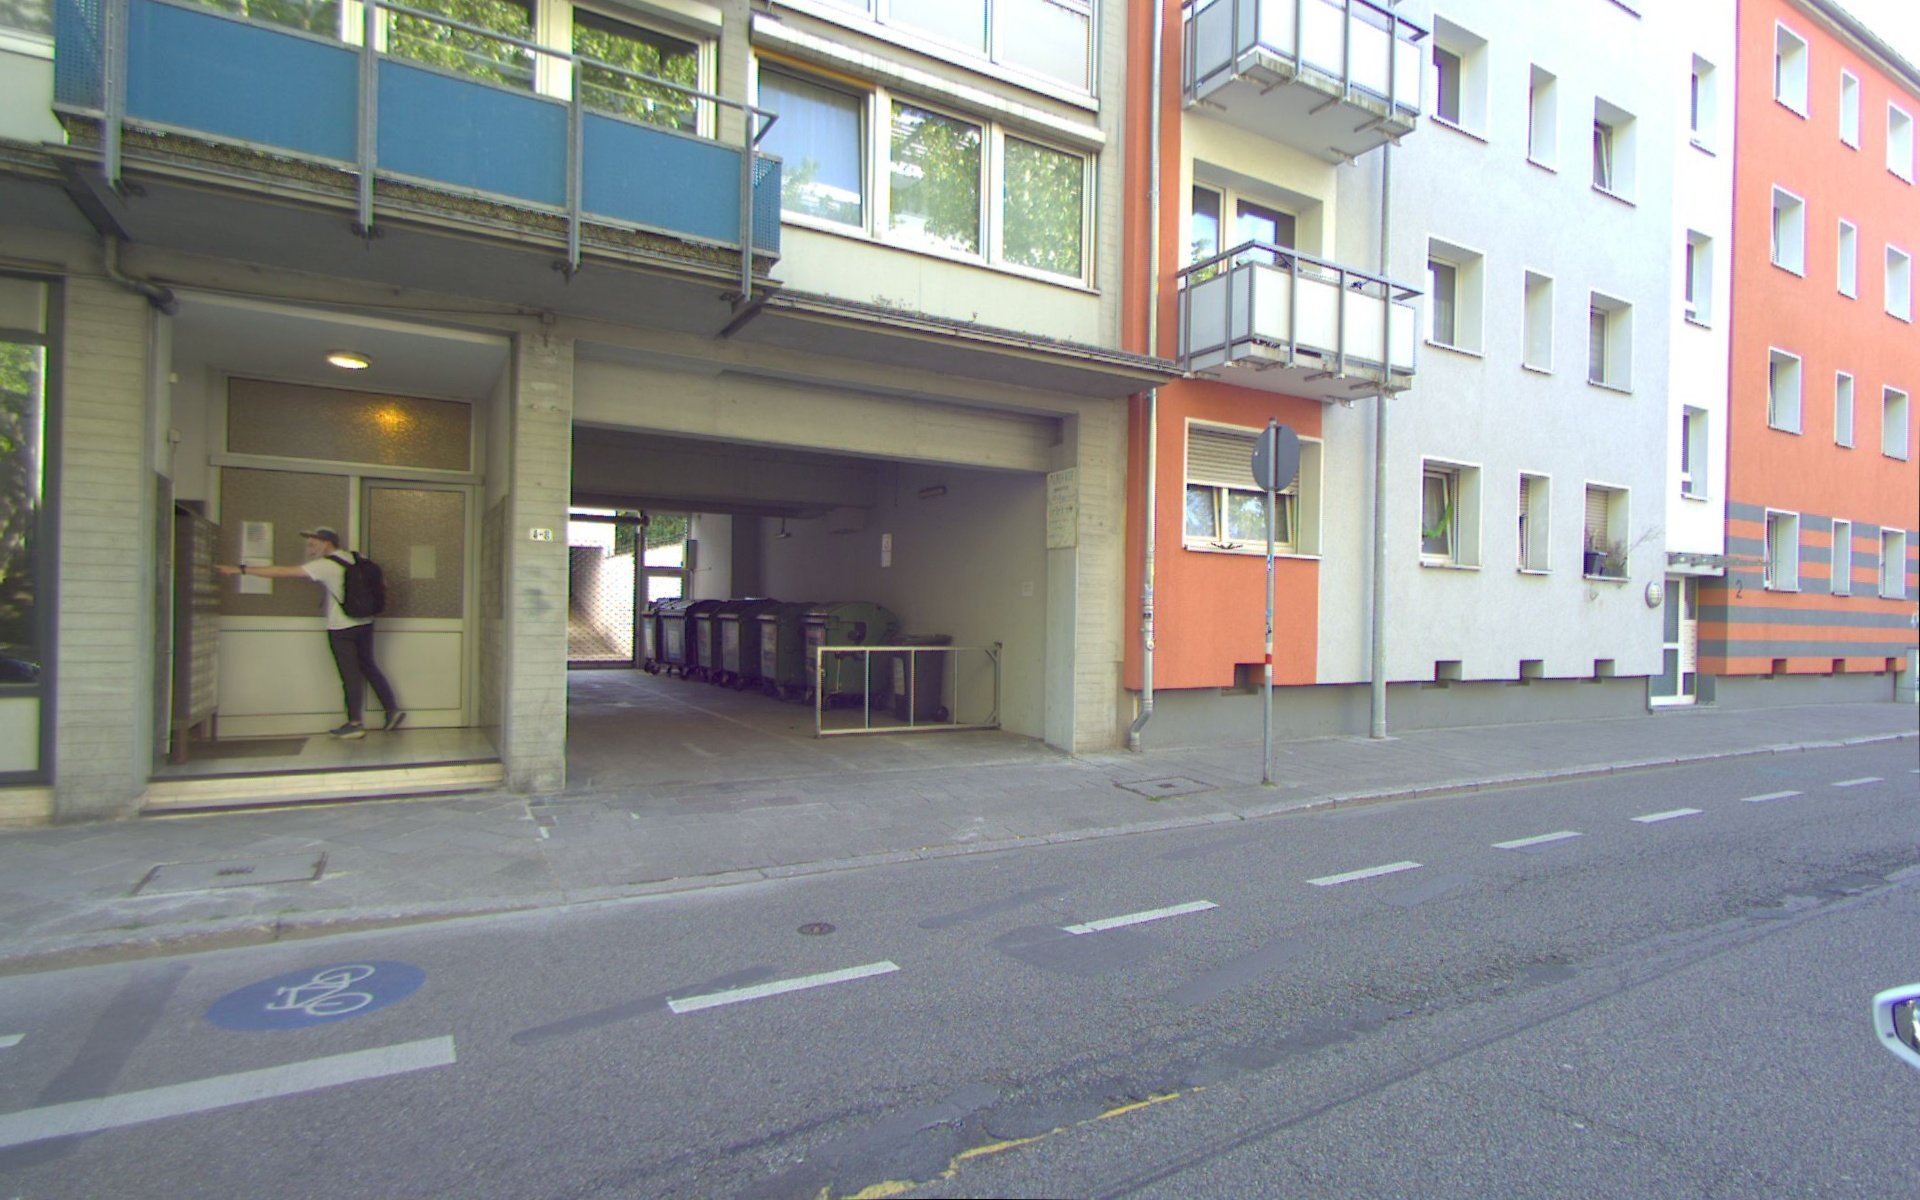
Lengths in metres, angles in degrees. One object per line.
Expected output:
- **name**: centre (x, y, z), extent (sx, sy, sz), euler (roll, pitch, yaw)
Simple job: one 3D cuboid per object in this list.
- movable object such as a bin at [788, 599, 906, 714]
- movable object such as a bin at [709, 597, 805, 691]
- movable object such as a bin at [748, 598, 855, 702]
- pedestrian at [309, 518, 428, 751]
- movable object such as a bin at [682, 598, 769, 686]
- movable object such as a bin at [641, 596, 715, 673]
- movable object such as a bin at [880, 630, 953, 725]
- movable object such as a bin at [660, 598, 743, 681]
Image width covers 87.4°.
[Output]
- **movable object such as a bin**: centre (-1.563, 0.741, 13.799), extent (1.159, 1.467, 1.319), euler (2, 0, -30)
- **movable object such as a bin**: centre (-3.370, 0.699, 16.617), extent (1.186, 1.467, 1.319), euler (2, 0, -30)
- **movable object such as a bin**: centre (-2.403, 0.722, 15.132), extent (1.186, 1.467, 1.319), euler (2, 0, -30)
- **pedestrian**: centre (-5.062, 0.291, 8.643), extent (0.776, 1.904, 0.578), euler (2, 0, -24)
- **movable object such as a bin**: centre (-4.140, 0.720, 17.707), extent (1.186, 1.467, 1.114), euler (2, 0, -30)
- **movable object such as a bin**: centre (-5.615, 0.685, 19.979), extent (1.186, 1.467, 1.027), euler (2, 0, -30)
- **movable object such as a bin**: centre (-0.535, 0.942, 12.407), extent (0.745, 1.116, 0.463), euler (2, 0, -30)
- **movable object such as a bin**: centre (-4.840, 0.721, 18.750), extent (1.186, 1.467, 1.222), euler (2, 0, -30)
